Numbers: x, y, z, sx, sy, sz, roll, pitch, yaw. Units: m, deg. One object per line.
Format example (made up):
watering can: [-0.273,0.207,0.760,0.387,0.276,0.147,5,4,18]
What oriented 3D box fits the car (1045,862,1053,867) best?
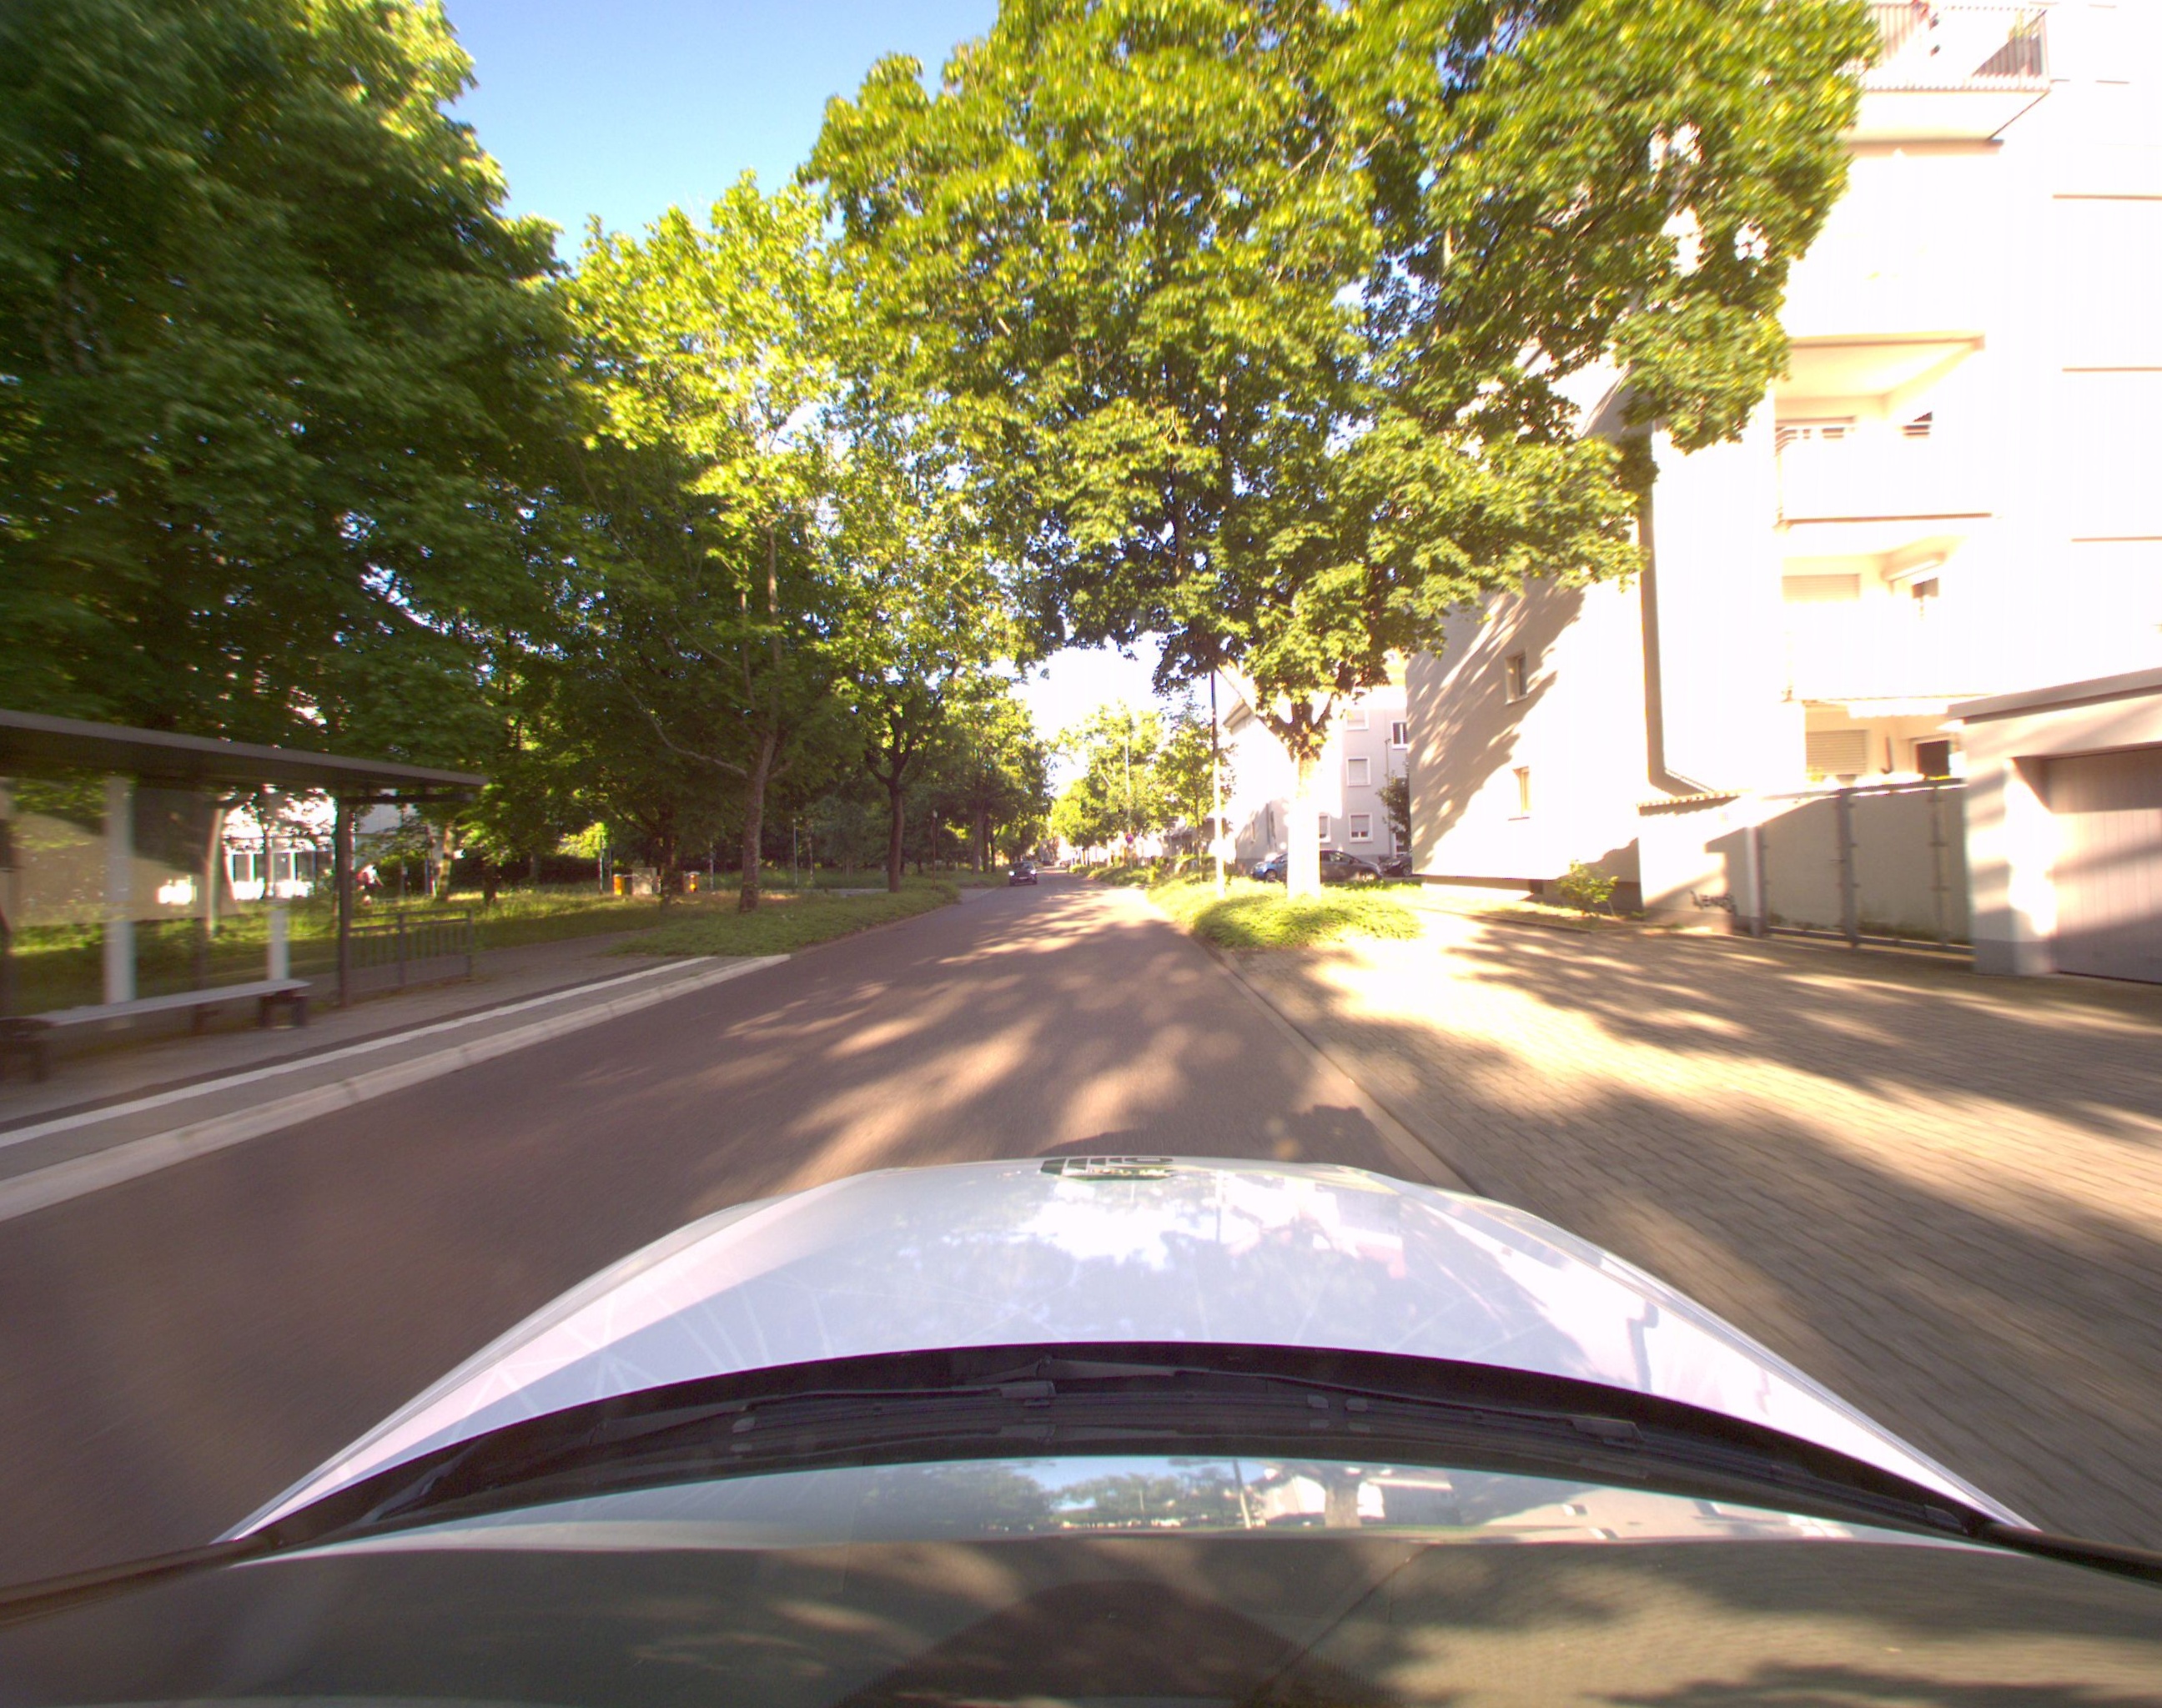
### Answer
car: [-8.332,2.709,211.207,1.809,1.501,3.991,-1,-1,-6]

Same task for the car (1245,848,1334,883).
car: [10.528,0.540,41.206,3.979,1.581,1.808,-2,0,-4]

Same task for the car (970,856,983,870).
car: [-19.343,1.720,150.216,1.995,2.508,3.984,-1,-1,-12]

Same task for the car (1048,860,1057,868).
car: [-7.110,2.387,203.143,1.809,1.926,3.991,-1,-1,-6]

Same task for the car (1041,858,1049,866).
car: [-10.125,2.298,227.863,1.809,2.050,3.991,-1,-1,-6]

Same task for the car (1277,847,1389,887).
car: [10.311,0.561,33.466,4.031,1.514,1.725,-1,-2,-3]

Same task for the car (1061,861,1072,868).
car: [-3.102,2.256,174.642,1.812,1.501,3.986,-2,0,-10]

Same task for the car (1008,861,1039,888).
car: [-3.824,1.342,54.901,1.839,1.579,4.332,-3,0,-2]

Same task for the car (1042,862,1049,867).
car: [-9.500,2.813,217.675,1.809,1.501,3.991,-1,-1,-6]

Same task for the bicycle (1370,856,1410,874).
bicycle: [16.490,0.595,43.413,1.958,0.926,0.482,-1,0,-3]

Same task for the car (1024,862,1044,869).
car: [-9.956,2.375,172.242,3.989,1.501,1.810,-1,-1,-11]

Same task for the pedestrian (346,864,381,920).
pedestrian: [-25.992,1.367,29.509,0.754,2.014,0.590,-1,-1,-1]

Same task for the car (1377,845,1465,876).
car: [17.211,0.329,41.319,3.813,1.498,1.647,-1,0,-2]
